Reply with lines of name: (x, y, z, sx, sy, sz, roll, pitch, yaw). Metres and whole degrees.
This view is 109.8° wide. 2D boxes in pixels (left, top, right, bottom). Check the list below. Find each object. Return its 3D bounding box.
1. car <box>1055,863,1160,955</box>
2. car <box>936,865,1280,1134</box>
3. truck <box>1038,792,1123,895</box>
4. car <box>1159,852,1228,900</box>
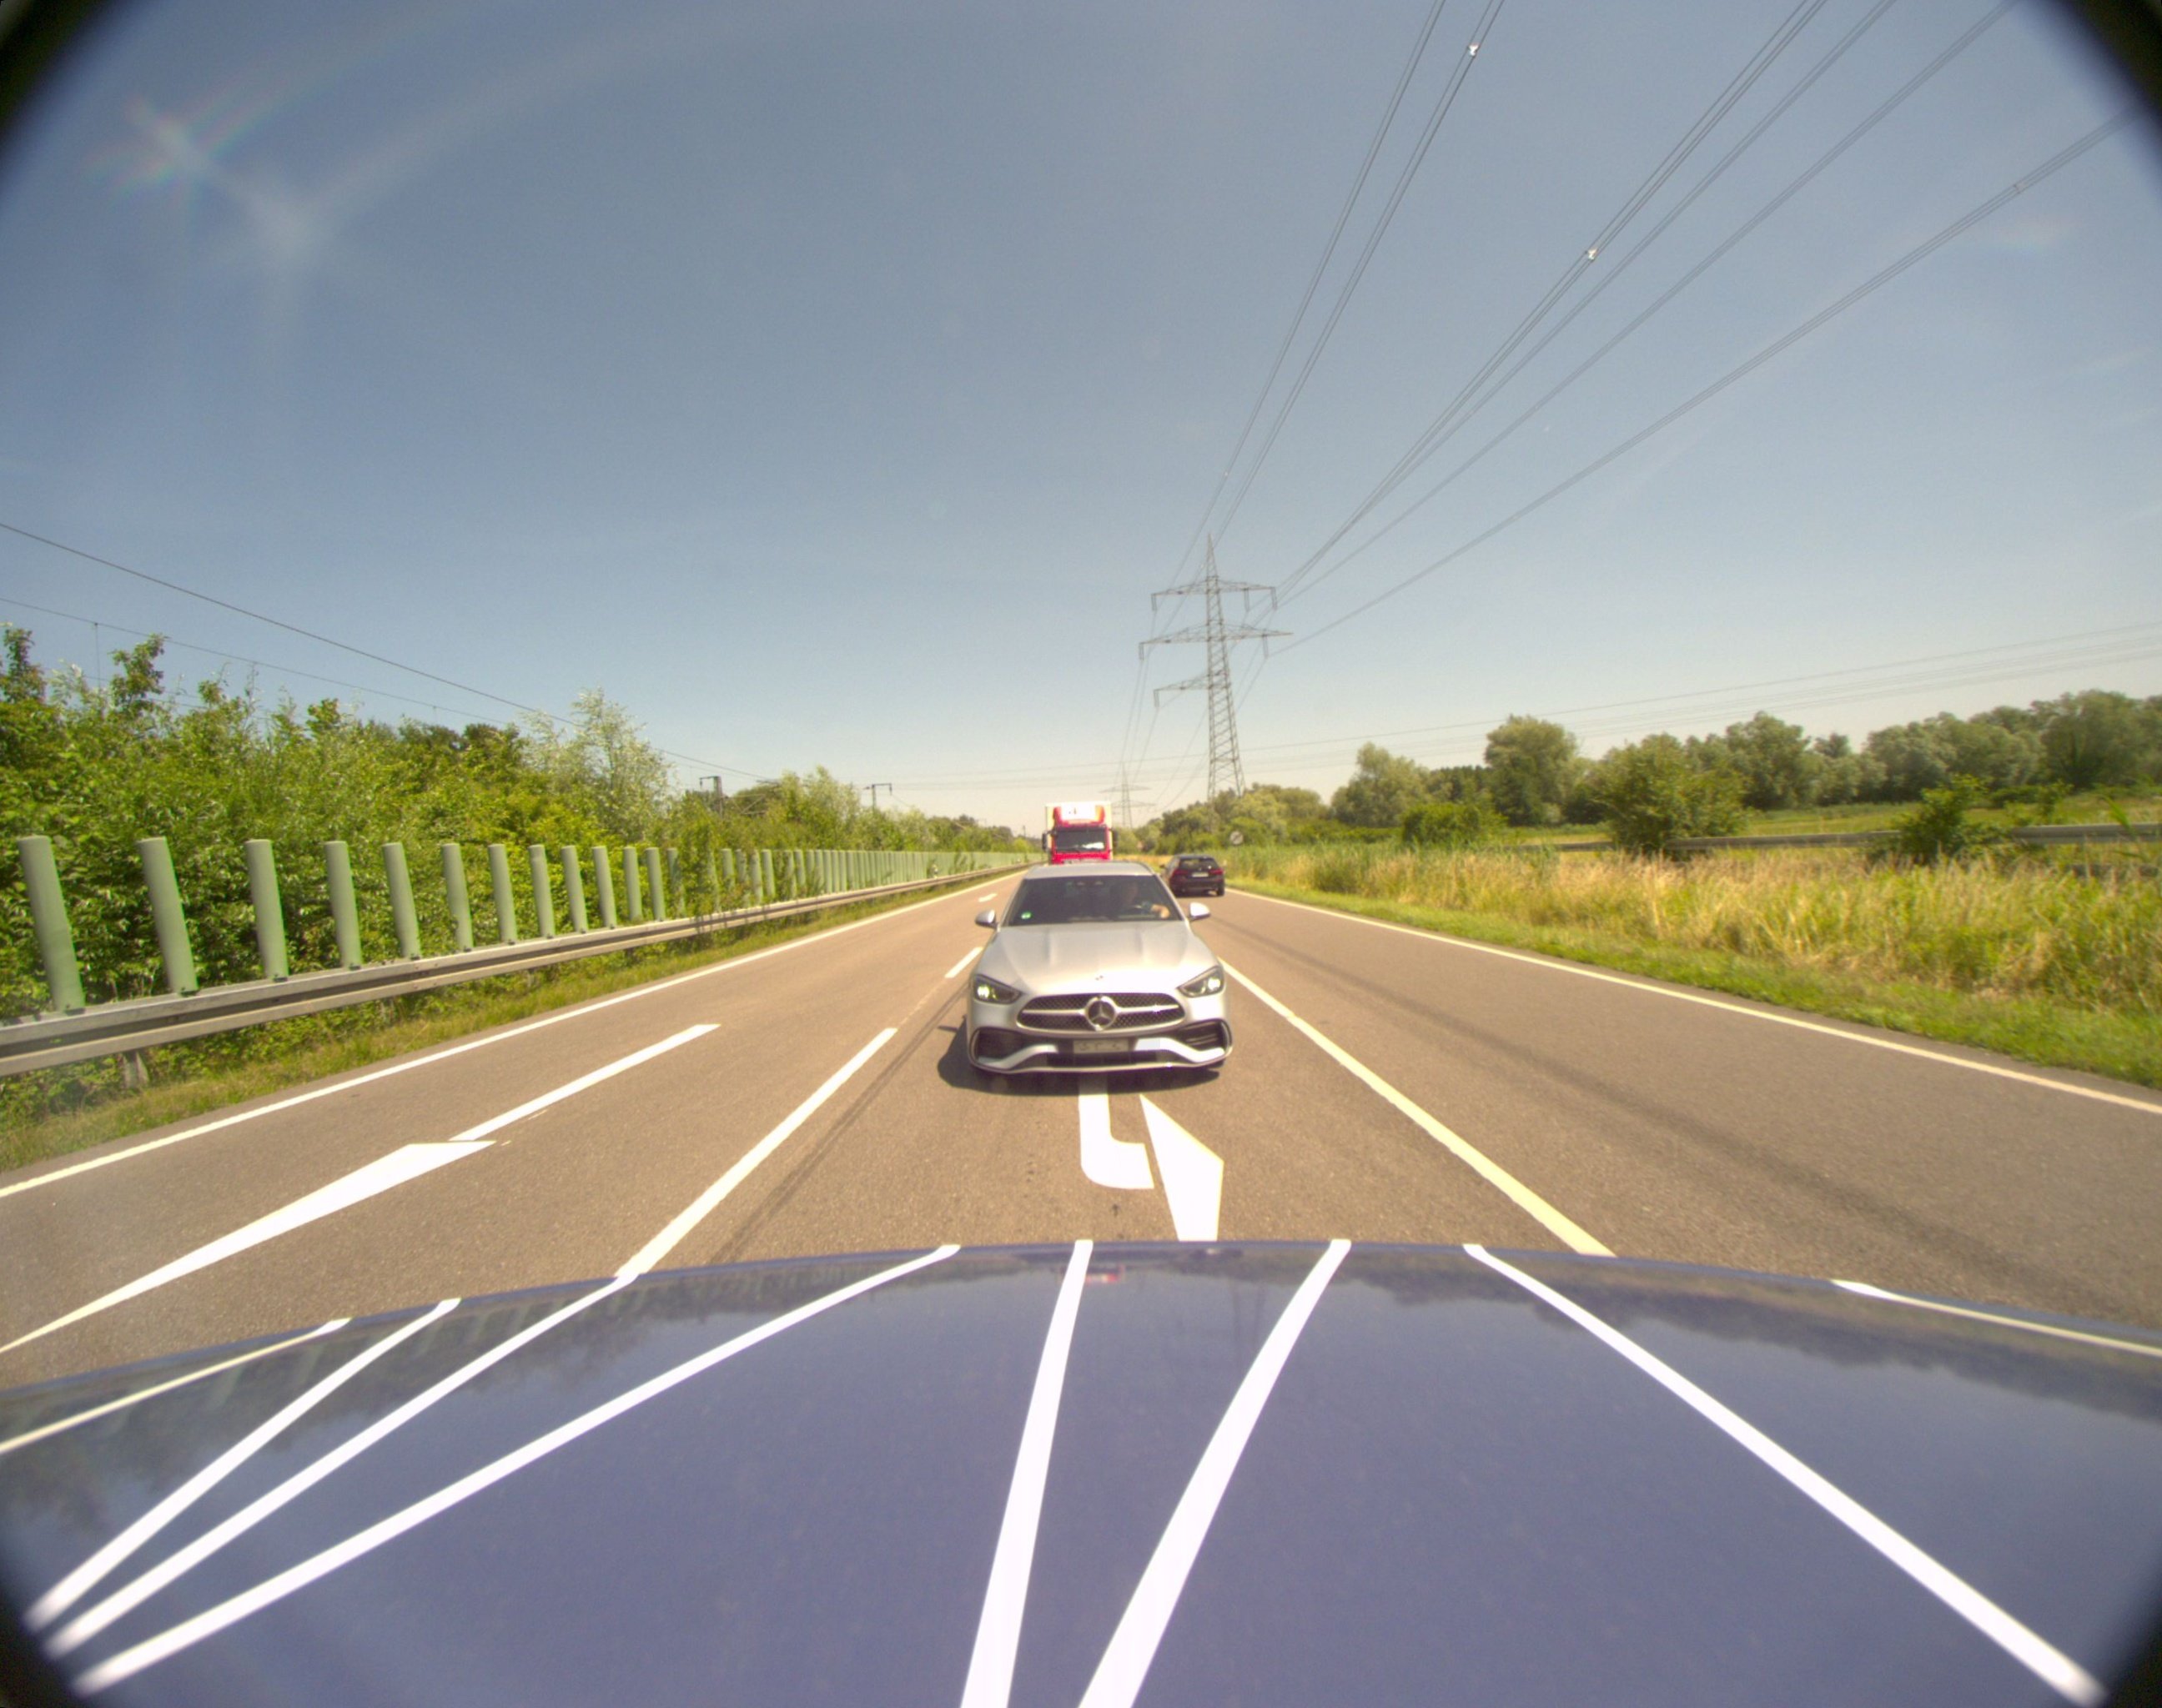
car: (0.482, 0.940, 14.887, 1.698, 1.385, 4.467, -2, 0, 1)
car: (0.176, 0.897, 6.737, 1.998, 1.437, 4.467, -2, 1, 0)
truck: (-0.025, -0.397, 31.729, 2.907, 3.641, 7.155, -4, 0, 0)
car: (3.830, 0.699, 26.555, 1.786, 1.455, 4.000, -3, 0, 0)
